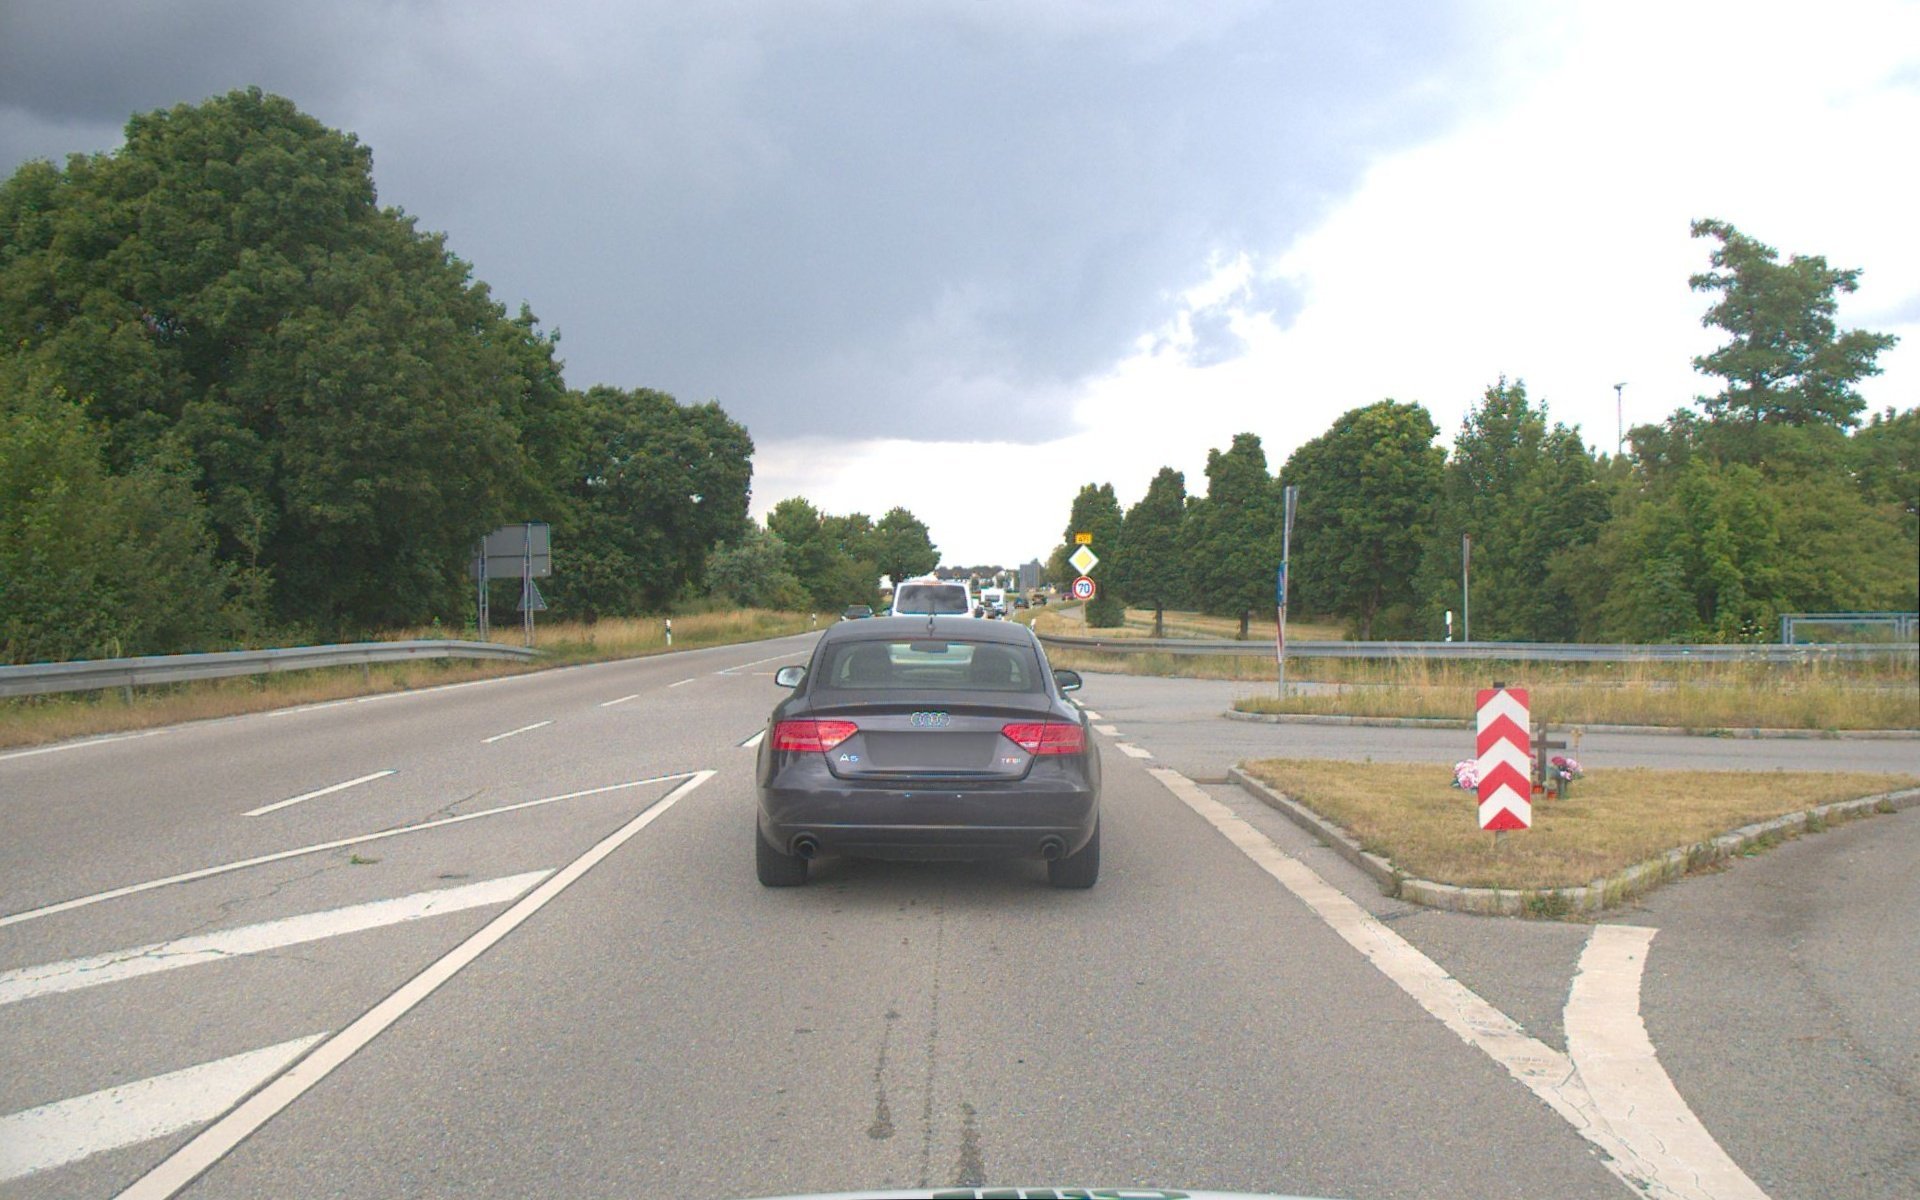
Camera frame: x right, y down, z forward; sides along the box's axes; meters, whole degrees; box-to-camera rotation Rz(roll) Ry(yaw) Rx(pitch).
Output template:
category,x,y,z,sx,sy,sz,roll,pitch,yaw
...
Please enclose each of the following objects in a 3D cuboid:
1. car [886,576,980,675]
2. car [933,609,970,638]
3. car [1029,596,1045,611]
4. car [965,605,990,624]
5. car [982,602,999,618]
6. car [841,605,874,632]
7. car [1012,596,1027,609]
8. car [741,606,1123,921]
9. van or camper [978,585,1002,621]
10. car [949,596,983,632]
category,x,y,z,sx,sy,sz,roll,pitch,yaw
car,-0.559,0.490,34.318,1.801,1.915,3.999,1,0,-1
car,-0.431,1.214,86.403,1.758,1.490,3.249,0,0,3
car,10.670,0.487,229.645,1.953,2.049,3.999,0,0,-1
car,1.447,1.145,132.384,1.699,1.541,3.749,0,0,5
car,2.676,0.885,145.979,1.231,1.377,3.468,0,0,5
car,-5.969,1.046,96.554,1.676,1.549,3.999,0,0,-1
car,7.302,0.286,202.909,1.683,1.477,4.000,1,0,0
car,-0.156,0.768,9.652,1.746,1.400,3.999,1,0,-1
van or camper,2.980,0.276,164.268,2.292,3.542,5.719,0,0,1
car,0.408,0.856,102.015,1.952,2.125,4.001,0,0,2
